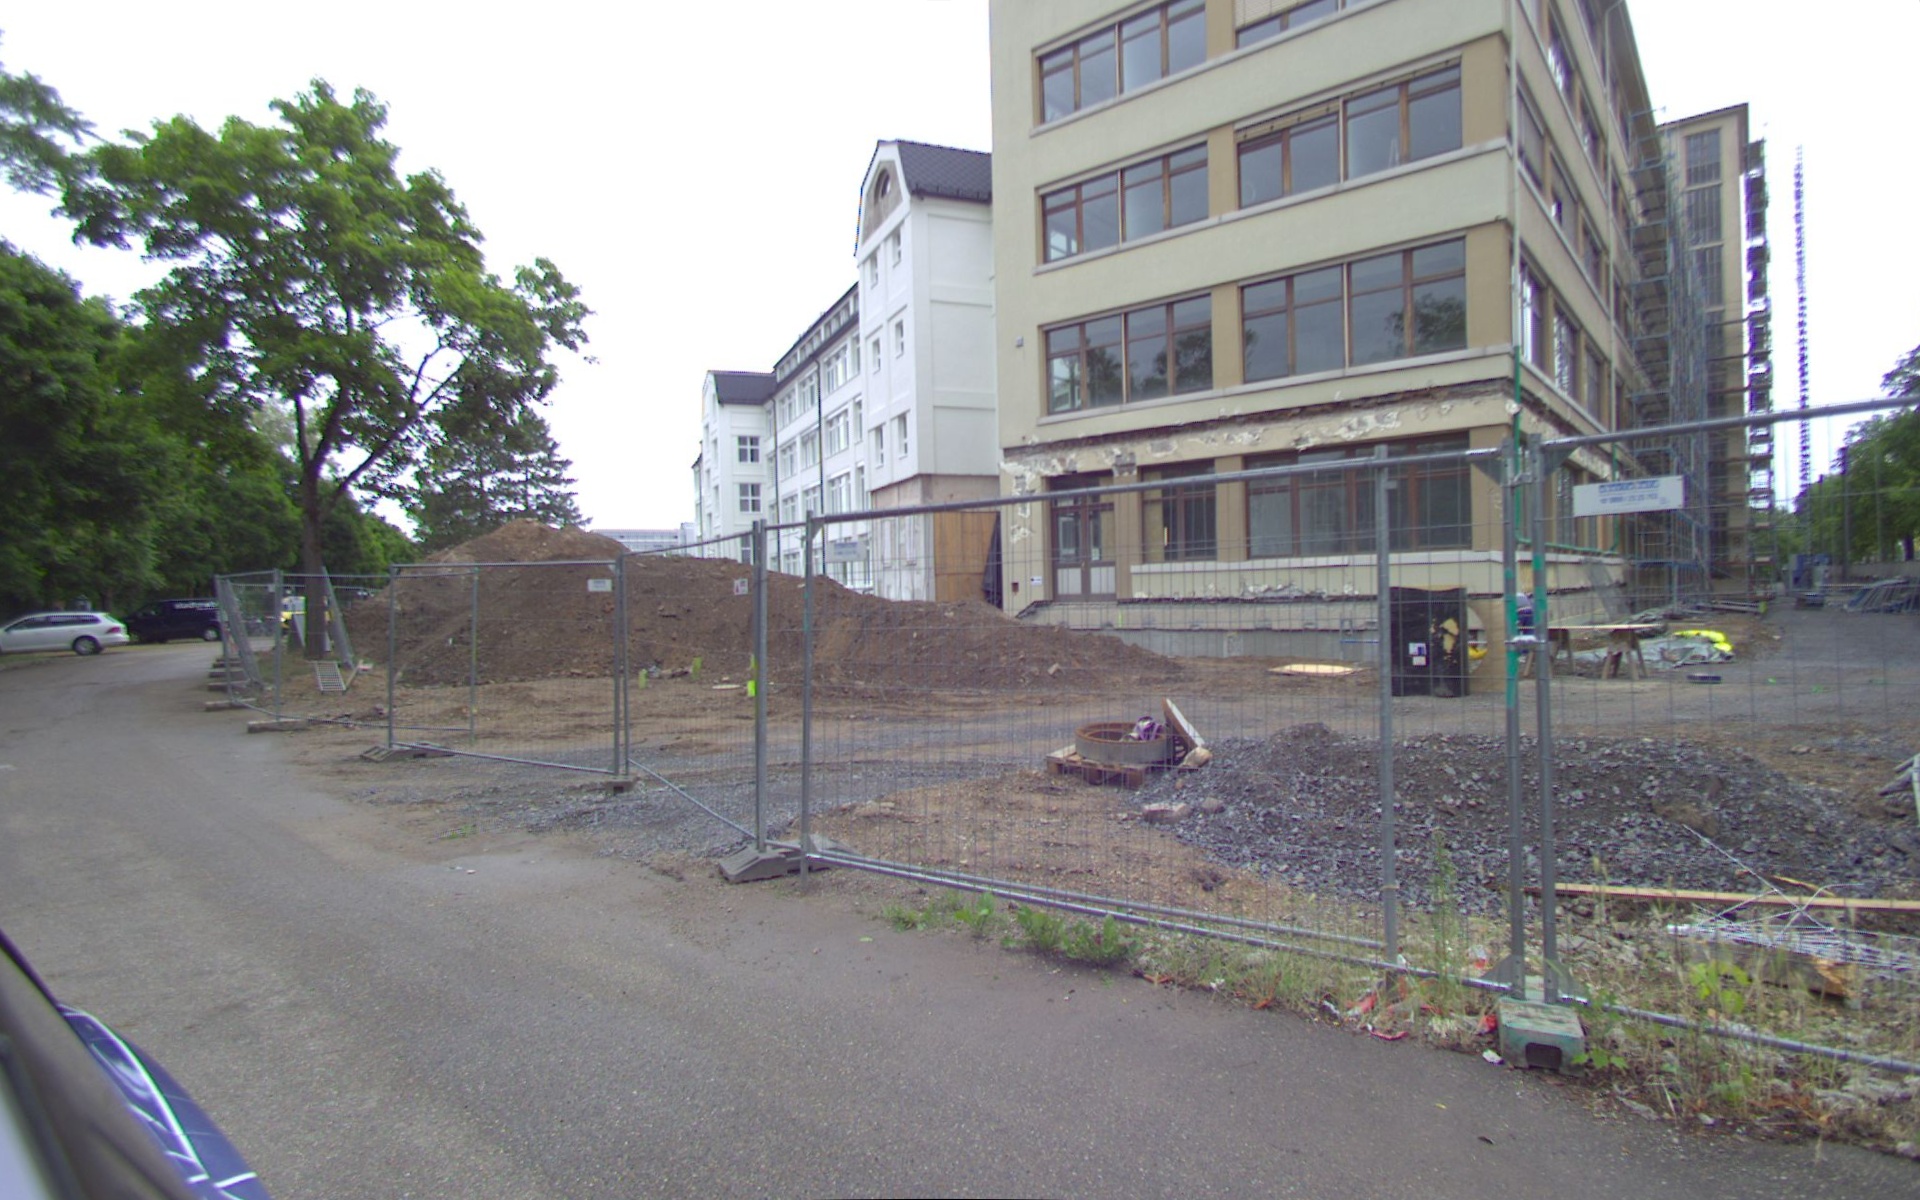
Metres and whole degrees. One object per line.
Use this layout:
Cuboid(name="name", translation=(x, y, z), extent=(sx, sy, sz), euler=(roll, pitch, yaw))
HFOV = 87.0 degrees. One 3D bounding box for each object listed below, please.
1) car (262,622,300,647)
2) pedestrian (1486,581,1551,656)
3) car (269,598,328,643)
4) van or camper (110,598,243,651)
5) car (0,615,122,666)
Cuboid(name="car", translation=(-47.541, 2.405, 70.902), extent=(1.966, 1.608, 4.012), euler=(-1, 0, -31))
Cuboid(name="pedestrian", translation=(11.112, 0.367, 20.173), extent=(0.975, 1.448, 0.925), euler=(-1, 0, 20))
Cuboid(name="car", translation=(-31.903, 0.977, 48.891), extent=(2.089, 2.029, 4.012), euler=(-1, 0, -30))
Cuboid(name="van or camper", translation=(-35.830, 1.095, 46.435), extent=(4.423, 2.275, 2.007), euler=(-1, 0, -23))
Cuboid(name="car", translation=(-31.204, 1.354, 34.549), extent=(3.822, 1.586, 1.756), euler=(-2, 0, -35))
